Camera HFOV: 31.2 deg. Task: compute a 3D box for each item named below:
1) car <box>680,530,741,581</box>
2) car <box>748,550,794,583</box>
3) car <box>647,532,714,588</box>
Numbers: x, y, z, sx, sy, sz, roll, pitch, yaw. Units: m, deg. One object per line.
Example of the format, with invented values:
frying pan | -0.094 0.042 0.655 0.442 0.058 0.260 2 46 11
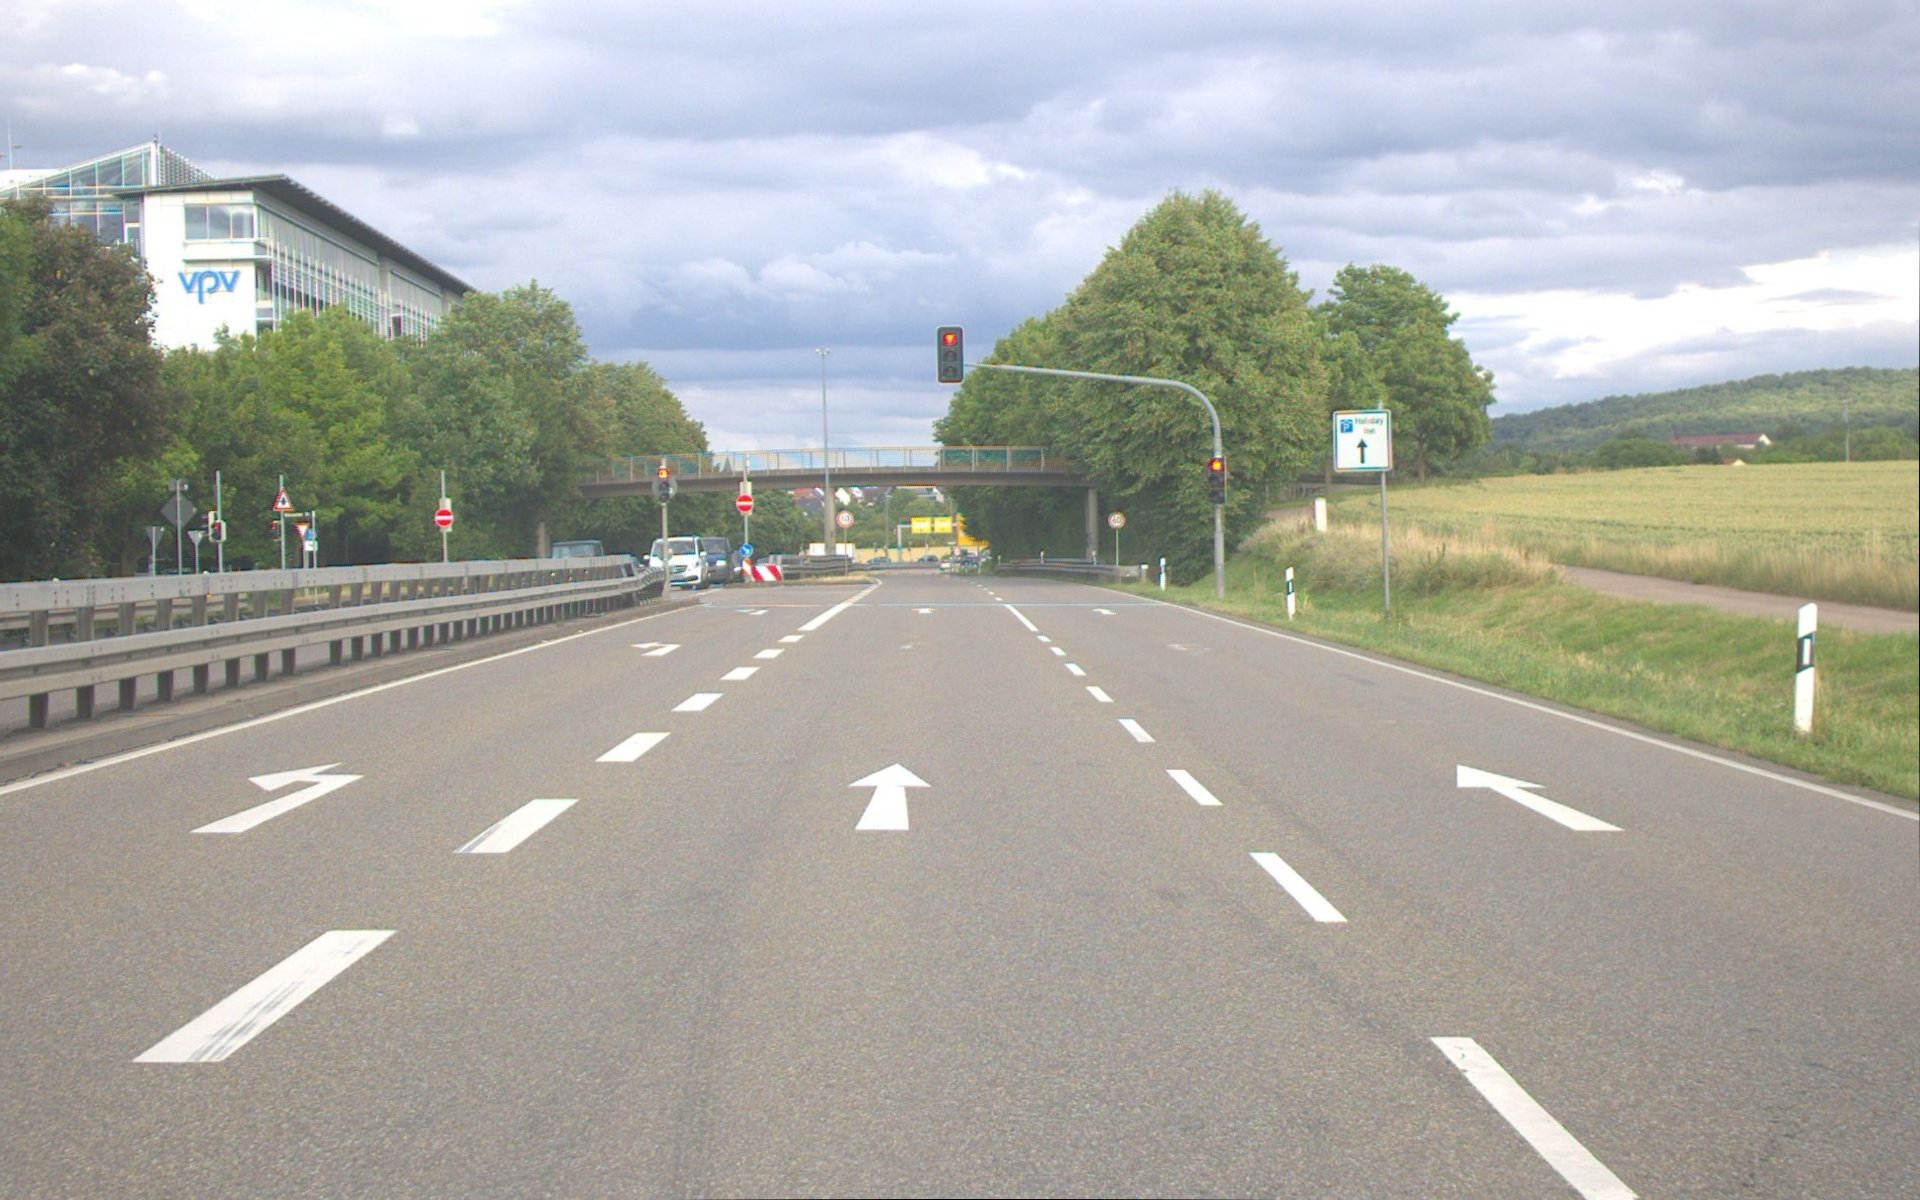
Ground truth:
car | -9.600 -1.723 132.366 1.993 1.867 4.737 -1 1 0
car | -6.534 -1.168 119.044 1.358 1.088 2.922 -1 1 1
car | -9.812 -1.424 121.050 1.948 1.867 4.737 -1 1 0
